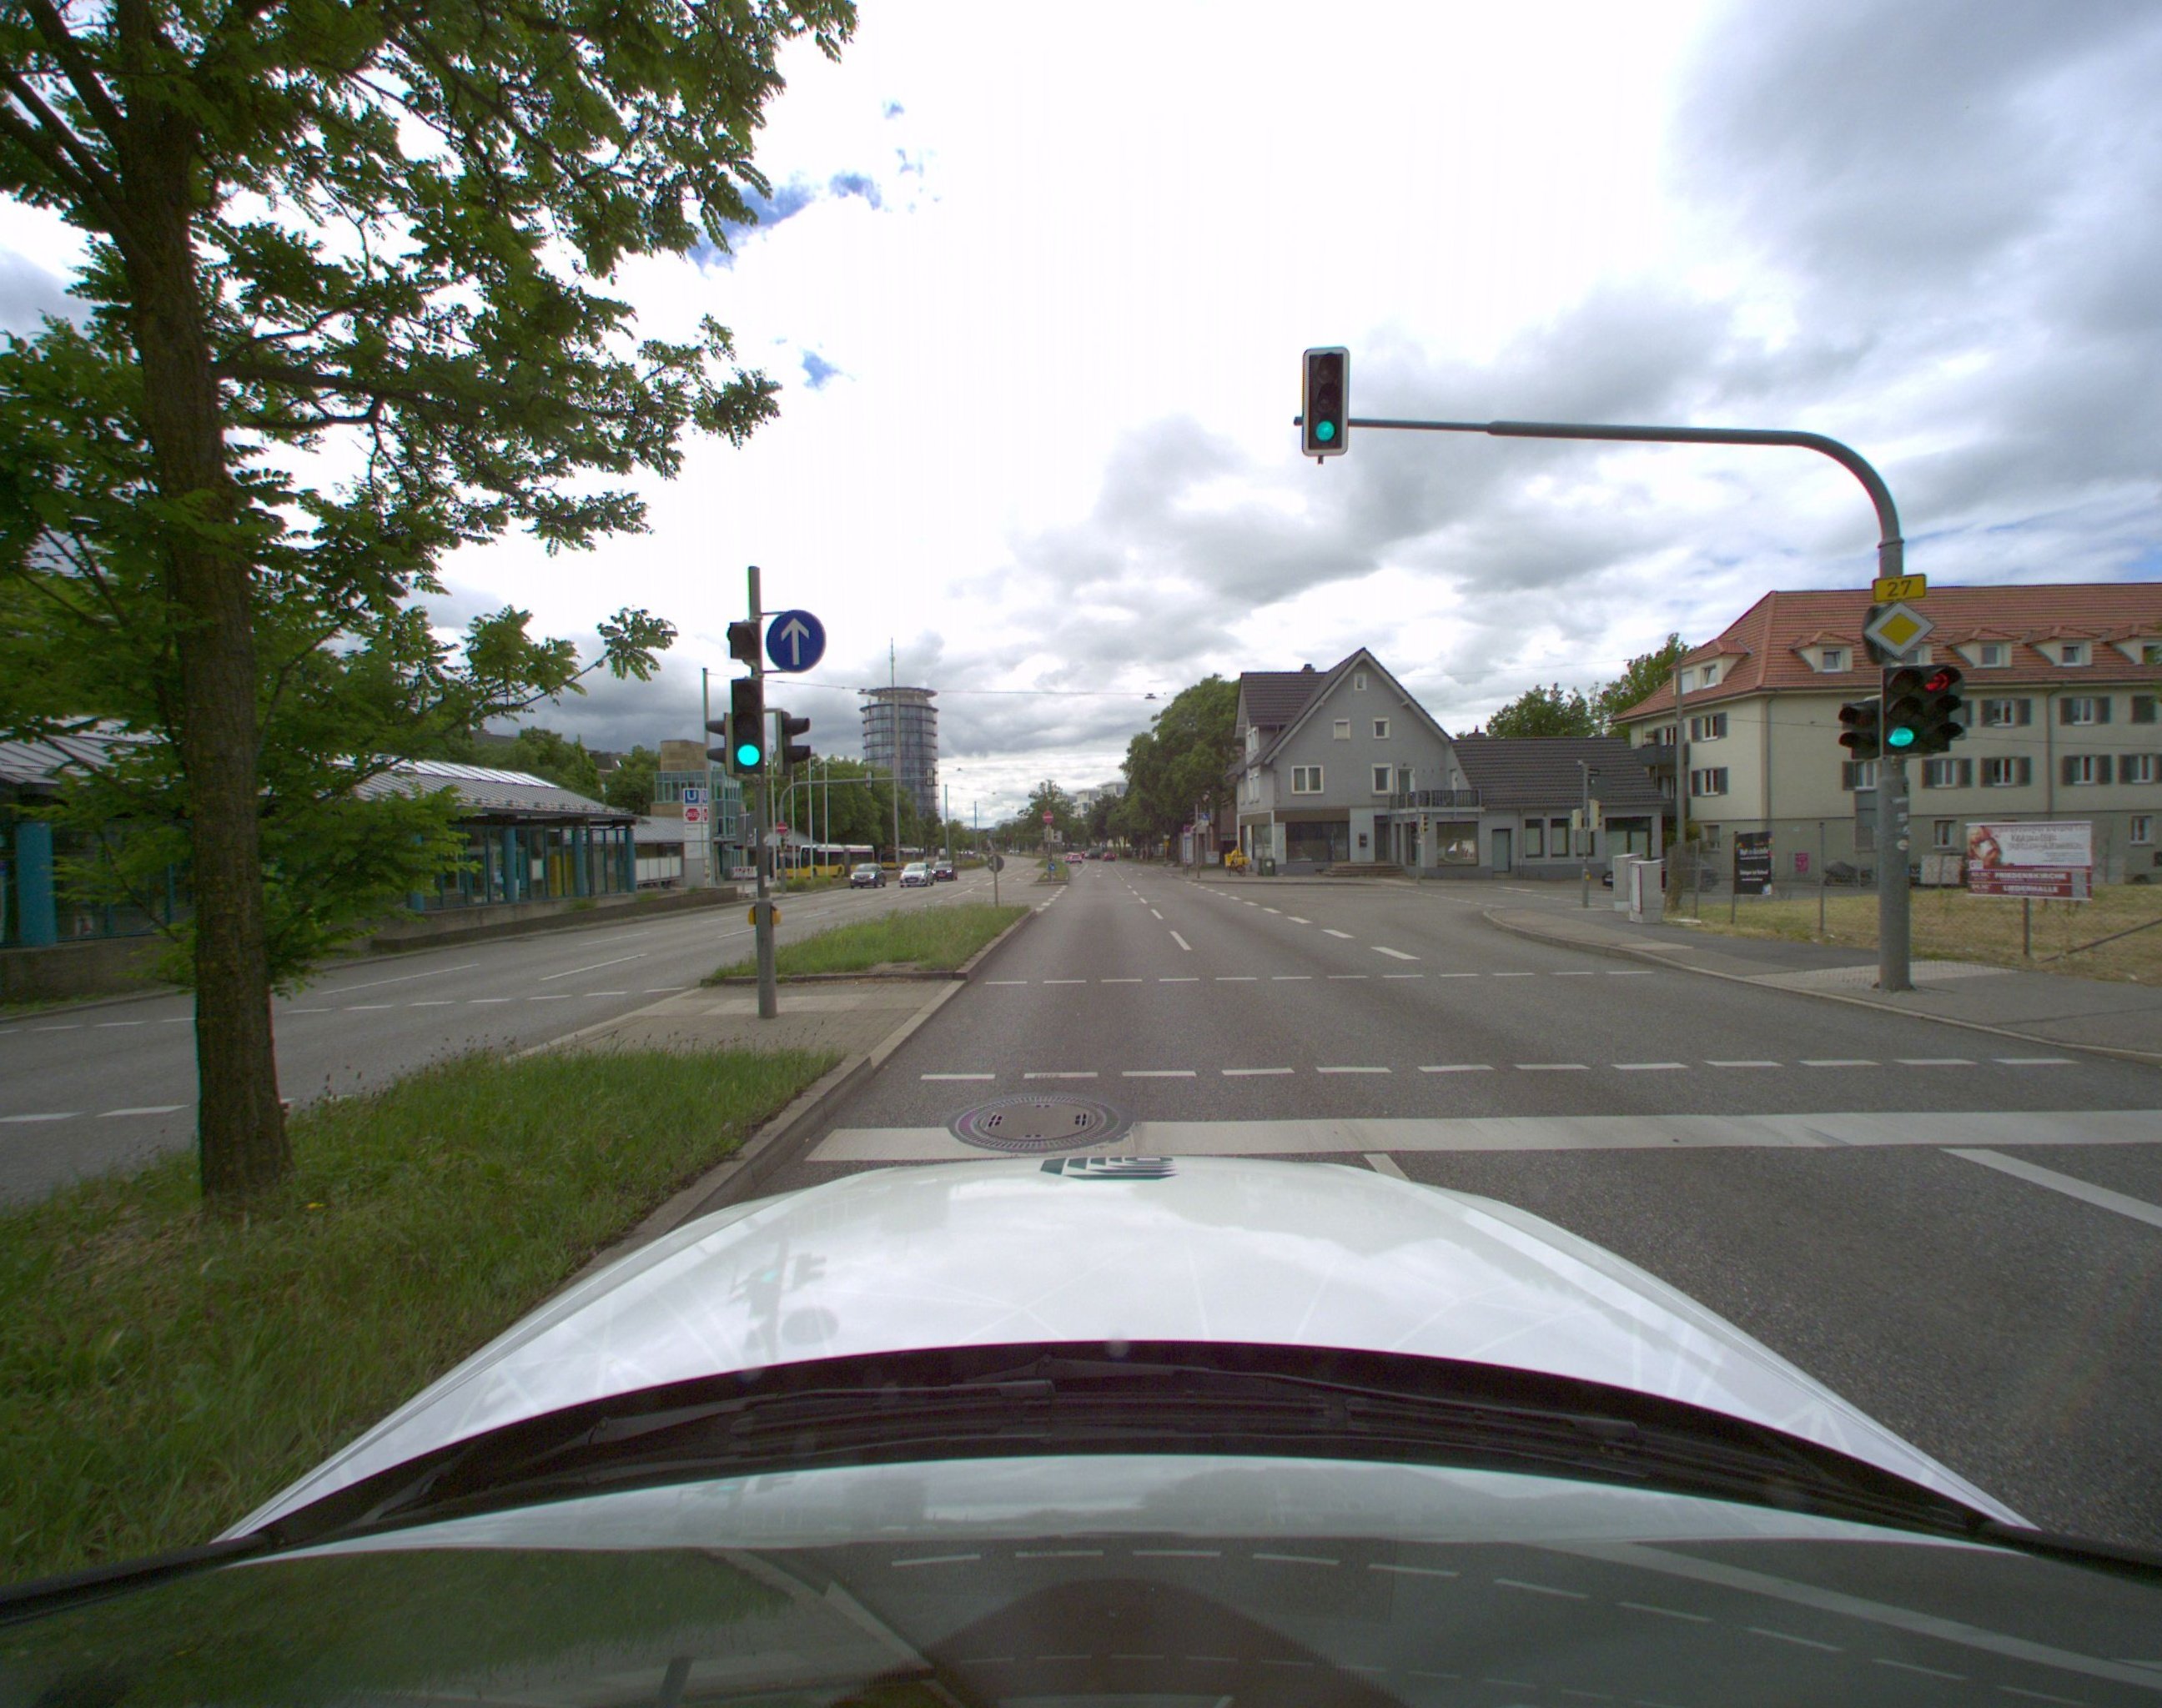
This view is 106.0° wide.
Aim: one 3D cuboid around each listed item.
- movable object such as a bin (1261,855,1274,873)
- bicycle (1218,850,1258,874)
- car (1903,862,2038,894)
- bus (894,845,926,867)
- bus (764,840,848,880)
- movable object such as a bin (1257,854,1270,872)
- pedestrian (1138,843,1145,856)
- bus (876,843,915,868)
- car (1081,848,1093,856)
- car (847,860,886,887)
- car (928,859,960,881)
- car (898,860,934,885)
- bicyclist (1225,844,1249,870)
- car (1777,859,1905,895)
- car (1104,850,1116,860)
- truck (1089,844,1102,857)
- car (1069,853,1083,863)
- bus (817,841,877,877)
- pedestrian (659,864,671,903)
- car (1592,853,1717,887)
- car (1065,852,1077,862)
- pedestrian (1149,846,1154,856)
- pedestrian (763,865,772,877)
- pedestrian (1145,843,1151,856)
[{"bbox_3d":[10.025,0.530,43.890,0.527,0.979,0.737,-2,0,2],"label":"movable object such as a bin"},{"bbox_3d":[8.611,0.451,44.839,1.077,1.217,2.424,-2,0,-18],"label":"bicycle"},{"bbox_3d":[39.806,1.062,36.511,3.972,1.377,1.871,0,0,2],"label":"car"},{"bbox_3d":[-26.047,0.275,124.257,3.134,3.225,7.765,-2,0,0],"label":"bus"},{"bbox_3d":[-24.331,0.496,72.799,2.975,3.250,10.186,-2,0,6],"label":"bus"},{"bbox_3d":[10.031,0.509,44.681,0.527,0.979,0.737,-2,0,2],"label":"movable object such as a bin"},{"bbox_3d":[9.996,-0.757,134.591,0.967,2.014,0.981,0,-1,1],"label":"pedestrian"},{"bbox_3d":[-26.104,0.239,115.248,3.135,3.225,10.282,-2,0,0],"label":"bus"},{"bbox_3d":[1.277,-0.353,174.039,2.246,1.647,4.927,-2,0,-3],"label":"car"},{"bbox_3d":[-13.499,1.214,51.464,1.681,1.578,3.344,-2,0,-4],"label":"car"},{"bbox_3d":[-10.309,1.176,61.517,1.697,1.492,3.561,-2,0,0],"label":"car"},{"bbox_3d":[-10.346,1.121,51.253,1.680,1.462,3.552,-2,0,-3],"label":"car"},{"bbox_3d":[8.587,0.157,44.876,1.077,1.357,0.624,-2,0,-18],"label":"bicyclist"},{"bbox_3d":[34.036,1.026,36.549,3.972,1.537,1.871,0,0,2],"label":"car"},{"bbox_3d":[4.727,0.160,131.771,1.881,1.494,4.102,-2,0,3],"label":"car"},{"bbox_3d":[2.743,-0.633,156.604,2.246,2.417,4.928,-1,0,-3],"label":"truck"},{"bbox_3d":[-0.761,0.623,123.757,1.988,1.477,4.254,-2,0,-1],"label":"car"},{"bbox_3d":[-23.360,0.473,81.798,2.975,3.270,7.889,-2,0,6],"label":"bus"},{"bbox_3d":[-17.330,1.221,33.929,0.420,1.591,0.353,-2,0,-28],"label":"pedestrian"},{"bbox_3d":[24.047,0.655,34.238,3.975,1.377,1.869,0,0,-1],"label":"car"},{"bbox_3d":[-1.632,0.506,134.109,1.817,1.540,4.113,-2,0,0],"label":"car"},{"bbox_3d":[11.971,-0.486,138.759,0.649,1.570,0.669,-2,0,-6],"label":"pedestrian"},{"bbox_3d":[-27.401,1.501,71.244,0.521,1.057,0.588,0,-1,1],"label":"pedestrian"},{"bbox_3d":[11.095,-0.746,134.583,0.967,1.976,0.981,0,-1,1],"label":"pedestrian"}]
